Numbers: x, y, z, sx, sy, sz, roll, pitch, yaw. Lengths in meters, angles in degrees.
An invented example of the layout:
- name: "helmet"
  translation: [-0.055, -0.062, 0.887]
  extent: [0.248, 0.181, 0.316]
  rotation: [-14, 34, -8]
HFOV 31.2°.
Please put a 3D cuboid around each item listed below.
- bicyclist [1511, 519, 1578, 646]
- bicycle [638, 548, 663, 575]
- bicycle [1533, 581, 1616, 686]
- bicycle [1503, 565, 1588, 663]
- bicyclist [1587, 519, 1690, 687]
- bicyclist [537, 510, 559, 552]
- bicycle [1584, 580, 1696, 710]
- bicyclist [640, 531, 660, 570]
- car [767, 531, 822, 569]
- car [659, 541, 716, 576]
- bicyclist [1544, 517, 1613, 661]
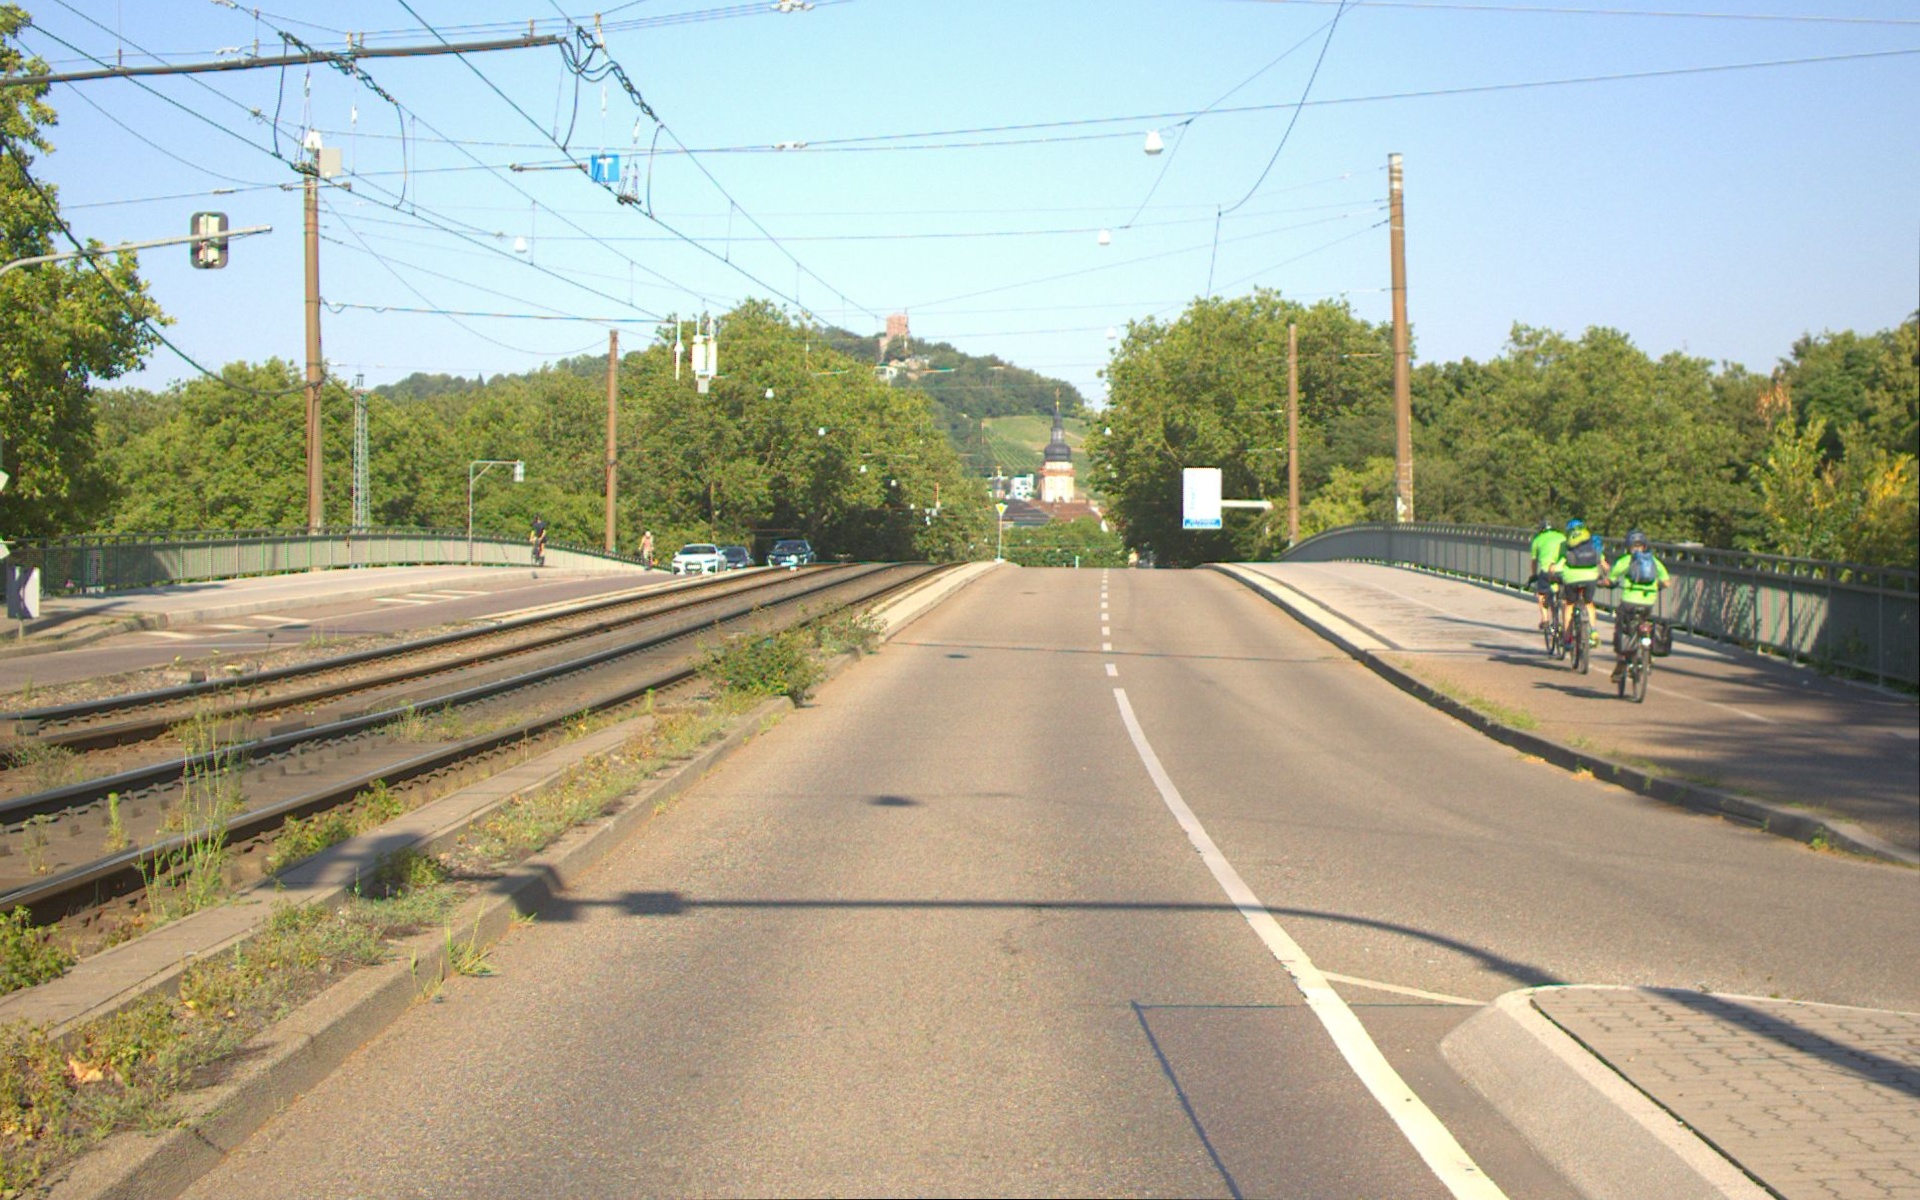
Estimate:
- name: "bicyclist"
  translation: [7.030, -0.216, 41.365]
  extent: [0.625, 1.503, 1.006]
  rotation: [0, 1, 0]
- name: "bicycle"
  translation: [-12.933, -1.616, 143.705]
  extent: [0.625, 1.118, 2.259]
  rotation: [0, 1, 7]
- name: "bicycle"
  translation: [6.864, 0.358, 38.463]
  extent: [0.625, 1.118, 2.042]
  rotation: [0, 1, 2]
- name: "bicycle"
  translation: [7.025, 0.152, 41.334]
  extent: [0.625, 1.118, 2.260]
  rotation: [0, 1, 0]
- name: "bicyclist"
  translation: [6.417, 0.019, 32.539]
  extent: [0.812, 1.557, 0.896]
  rotation: [0, 2, 2]
- name: "bicyclist"
  translation: [-14.279, -2.382, 119.079]
  extent: [0.625, 1.427, 0.968]
  rotation: [0, 1, 1]
- name: "bicycle"
  translation: [6.425, 0.401, 32.569]
  extent: [0.683, 1.118, 2.216]
  rotation: [0, 2, 2]
- name: "bicyclist"
  translation: [-12.941, -2.066, 143.614]
  extent: [0.625, 1.627, 0.935]
  rotation: [0, 1, 7]
- name: "car"
  translation: [-6.622, -2.011, 138.194]
  extent: [1.849, 1.497, 4.219]
  rotation: [0, 1, 2]
- name: "car"
  translation: [-10.763, -1.660, 136.173]
  extent: [1.684, 1.351, 4.920]
  rotation: [0, 1, 2]
- name: "bicyclist"
  translation: [6.902, -0.129, 38.404]
  extent: [0.625, 1.587, 0.931]
  rotation: [0, 1, 2]
